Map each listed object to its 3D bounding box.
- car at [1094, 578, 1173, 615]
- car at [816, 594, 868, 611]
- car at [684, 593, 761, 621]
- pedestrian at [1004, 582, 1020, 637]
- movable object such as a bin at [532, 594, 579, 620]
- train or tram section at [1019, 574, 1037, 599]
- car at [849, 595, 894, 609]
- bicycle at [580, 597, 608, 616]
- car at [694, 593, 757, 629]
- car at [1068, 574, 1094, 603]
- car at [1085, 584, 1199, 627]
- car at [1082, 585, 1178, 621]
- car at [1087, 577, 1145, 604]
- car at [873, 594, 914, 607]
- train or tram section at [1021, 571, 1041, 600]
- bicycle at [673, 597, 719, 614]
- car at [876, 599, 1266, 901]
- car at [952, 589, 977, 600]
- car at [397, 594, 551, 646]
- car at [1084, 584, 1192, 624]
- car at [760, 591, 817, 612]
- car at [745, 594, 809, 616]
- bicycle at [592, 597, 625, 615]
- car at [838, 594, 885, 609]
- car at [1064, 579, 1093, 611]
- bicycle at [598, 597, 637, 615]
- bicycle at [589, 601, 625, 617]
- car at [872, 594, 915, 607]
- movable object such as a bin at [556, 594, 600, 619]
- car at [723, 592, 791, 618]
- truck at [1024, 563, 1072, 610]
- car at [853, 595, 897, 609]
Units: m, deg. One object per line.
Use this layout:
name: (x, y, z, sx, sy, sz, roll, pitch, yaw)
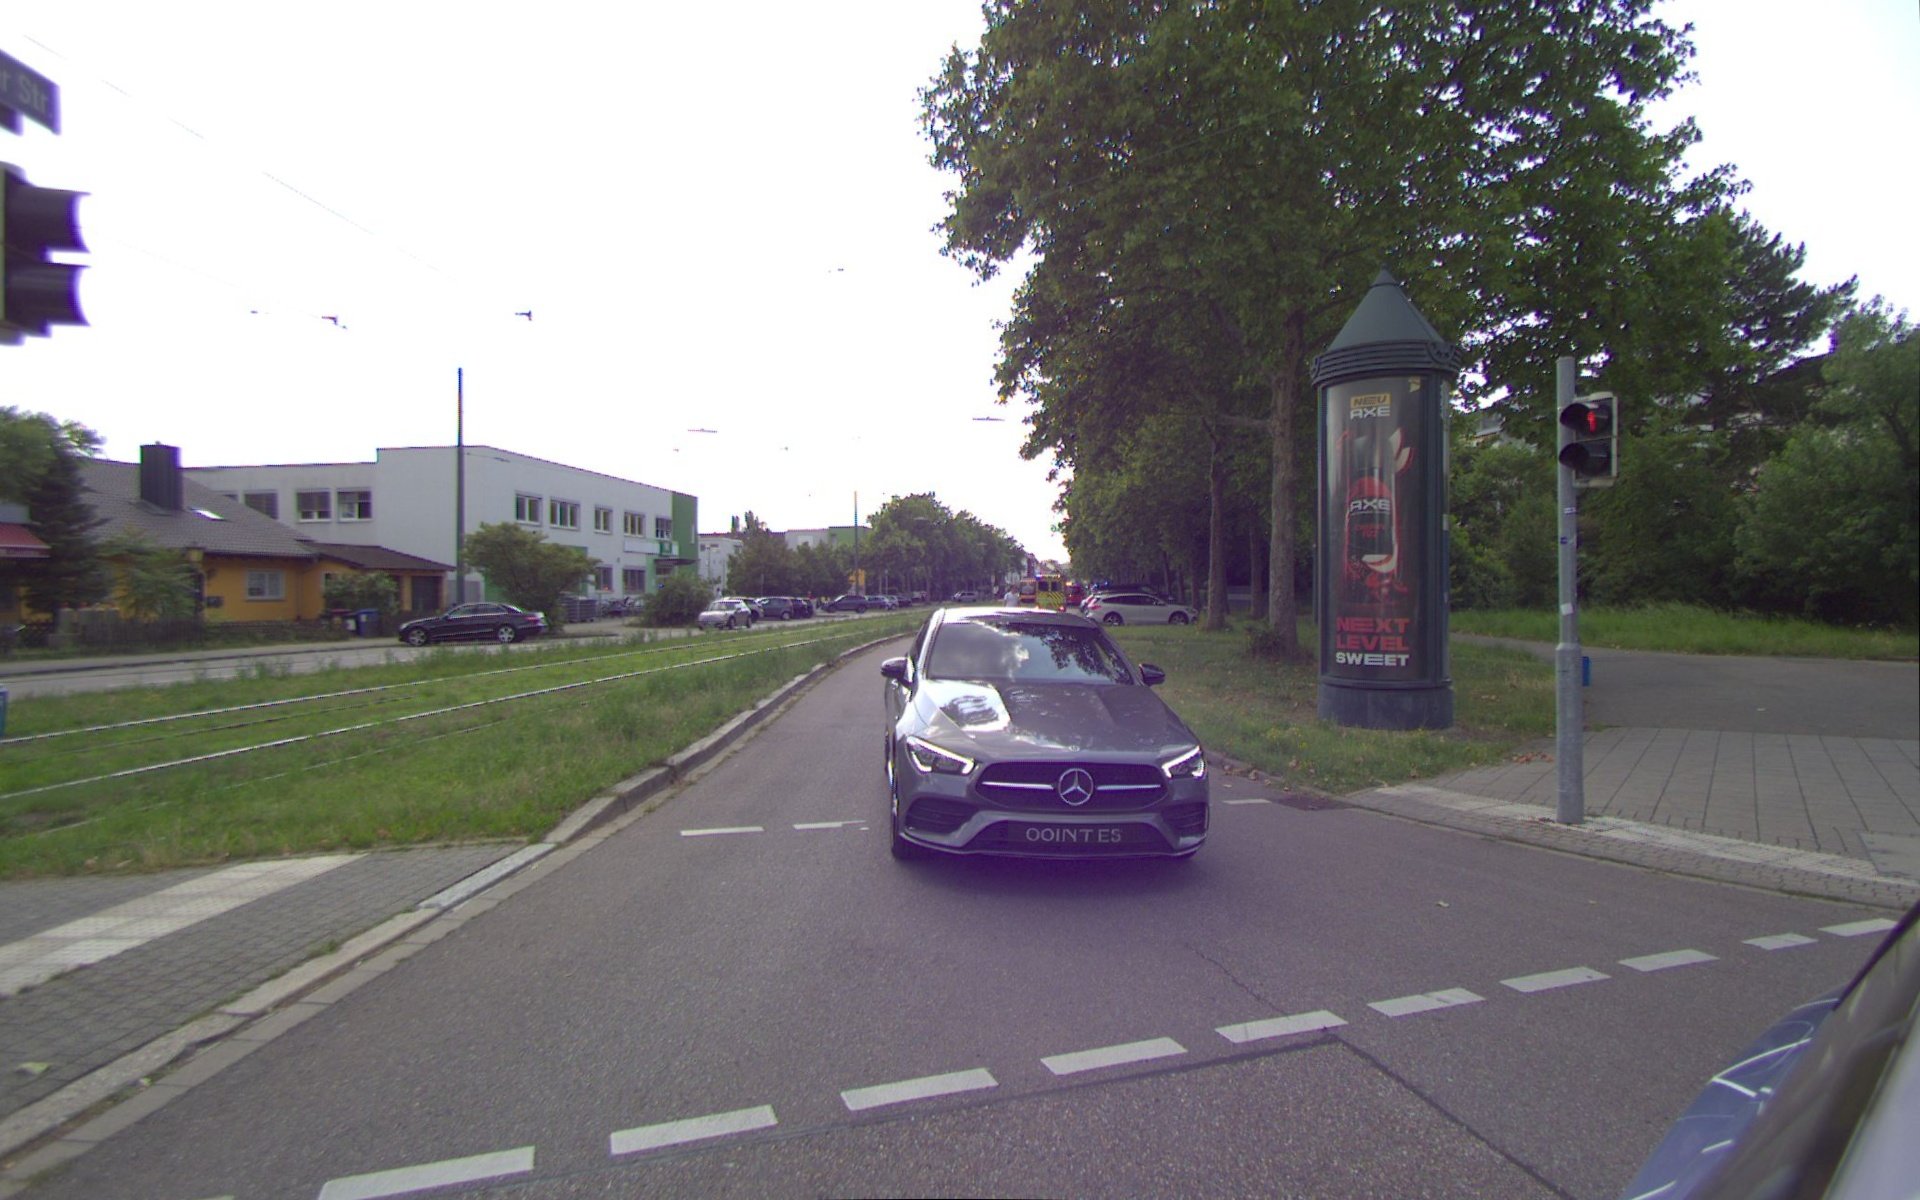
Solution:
car: (10.072, -0.202, 58.968, 4.482, 2.039, 1.995, -1, 0, 9)
car: (-10.262, 0.178, 87.709, 4.224, 1.381, 1.906, -1, 0, -16)
car: (-14.408, 0.402, 61.411, 4.226, 1.650, 1.905, -1, 0, -25)
pedestrian: (1.619, 0.283, 31.523, 0.485, 1.705, 0.587, 0, -1, 3)
movable object such as a bin: (-21.293, 0.346, 53.323, 1.355, 1.343, 2.110, -1, 0, 12)
train or tram section: (9.920, -1.957, 148.487, 2.450, 3.641, 7.417, -1, 1, 2)
car: (-8.861, 0.176, 101.227, 4.225, 1.381, 1.906, -1, 0, -14)
bicycle: (-22.645, 0.408, 62.646, 1.604, 1.180, 0.700, 0, 0, 25)
car: (-11.254, 0.490, 48.774, 1.867, 1.650, 4.312, 0, 0, 3)
car: (14.571, -1.358, 122.212, 2.924, 3.372, 7.445, 1, 0, 6)
car: (7.415, 0.241, 41.675, 4.464, 1.665, 1.996, -1, -1, 6)
car: (8.238, 0.155, 49.388, 4.464, 1.665, 1.996, -1, -1, 6)
car: (20.716, -1.236, 135.001, 7.324, 3.372, 2.972, 1, 0, 4)
car: (-7.392, 0.031, 112.239, 4.225, 1.381, 1.906, -1, 0, -14)
train or tram section: (9.339, -1.927, 133.724, 2.450, 3.641, 7.418, -1, 1, 2)
bicycle: (-19.169, 0.426, 73.495, 3.088, 1.180, 1.141, -1, 0, 4)
car: (0.374, 0.741, 7.286, 1.804, 1.411, 4.612, 1, 1, -6)
car: (0.829, -0.944, 175.477, 3.916, 1.861, 1.825, 1, 0, -23)
car: (-16.870, 0.662, 35.378, 4.485, 1.600, 2.004, -2, 1, -12)
car: (7.706, 0.176, 44.240, 4.464, 1.665, 1.996, -1, -1, 6)
car: (-12.990, 0.118, 76.585, 4.083, 1.523, 1.864, 0, 0, -14)
car: (-12.736, 0.338, 70.411, 4.082, 1.523, 1.864, 0, 0, -19)
bicycle: (-21.350, 0.349, 61.465, 1.766, 1.095, 0.735, -1, 0, 6)
car: (-9.535, 0.170, 97.978, 4.225, 1.381, 1.906, -1, 0, -14)
car: (12.838, -0.534, 109.587, 2.924, 3.359, 7.445, 1, 0, 6)
bicycle: (-22.019, 0.387, 65.017, 2.317, 1.180, 0.757, 0, 0, 14)
bicycle: (-22.367, 0.581, 64.151, 2.126, 0.982, 0.728, 0, 0, 13)
car: (-7.076, 0.052, 107.552, 4.225, 1.381, 1.906, -1, 0, -14)
movable object such as a bin: (-20.932, 0.349, 55.477, 1.355, 1.343, 2.124, -1, 0, 12)
car: (-13.530, 0.307, 67.404, 4.224, 1.650, 1.906, 0, 0, -20)
truck: (6.766, -1.013, 77.255, 3.141, 3.359, 7.504, -1, 0, 9)
car: (-8.735, 0.172, 103.821, 4.225, 1.381, 1.906, -1, 0, -14)
